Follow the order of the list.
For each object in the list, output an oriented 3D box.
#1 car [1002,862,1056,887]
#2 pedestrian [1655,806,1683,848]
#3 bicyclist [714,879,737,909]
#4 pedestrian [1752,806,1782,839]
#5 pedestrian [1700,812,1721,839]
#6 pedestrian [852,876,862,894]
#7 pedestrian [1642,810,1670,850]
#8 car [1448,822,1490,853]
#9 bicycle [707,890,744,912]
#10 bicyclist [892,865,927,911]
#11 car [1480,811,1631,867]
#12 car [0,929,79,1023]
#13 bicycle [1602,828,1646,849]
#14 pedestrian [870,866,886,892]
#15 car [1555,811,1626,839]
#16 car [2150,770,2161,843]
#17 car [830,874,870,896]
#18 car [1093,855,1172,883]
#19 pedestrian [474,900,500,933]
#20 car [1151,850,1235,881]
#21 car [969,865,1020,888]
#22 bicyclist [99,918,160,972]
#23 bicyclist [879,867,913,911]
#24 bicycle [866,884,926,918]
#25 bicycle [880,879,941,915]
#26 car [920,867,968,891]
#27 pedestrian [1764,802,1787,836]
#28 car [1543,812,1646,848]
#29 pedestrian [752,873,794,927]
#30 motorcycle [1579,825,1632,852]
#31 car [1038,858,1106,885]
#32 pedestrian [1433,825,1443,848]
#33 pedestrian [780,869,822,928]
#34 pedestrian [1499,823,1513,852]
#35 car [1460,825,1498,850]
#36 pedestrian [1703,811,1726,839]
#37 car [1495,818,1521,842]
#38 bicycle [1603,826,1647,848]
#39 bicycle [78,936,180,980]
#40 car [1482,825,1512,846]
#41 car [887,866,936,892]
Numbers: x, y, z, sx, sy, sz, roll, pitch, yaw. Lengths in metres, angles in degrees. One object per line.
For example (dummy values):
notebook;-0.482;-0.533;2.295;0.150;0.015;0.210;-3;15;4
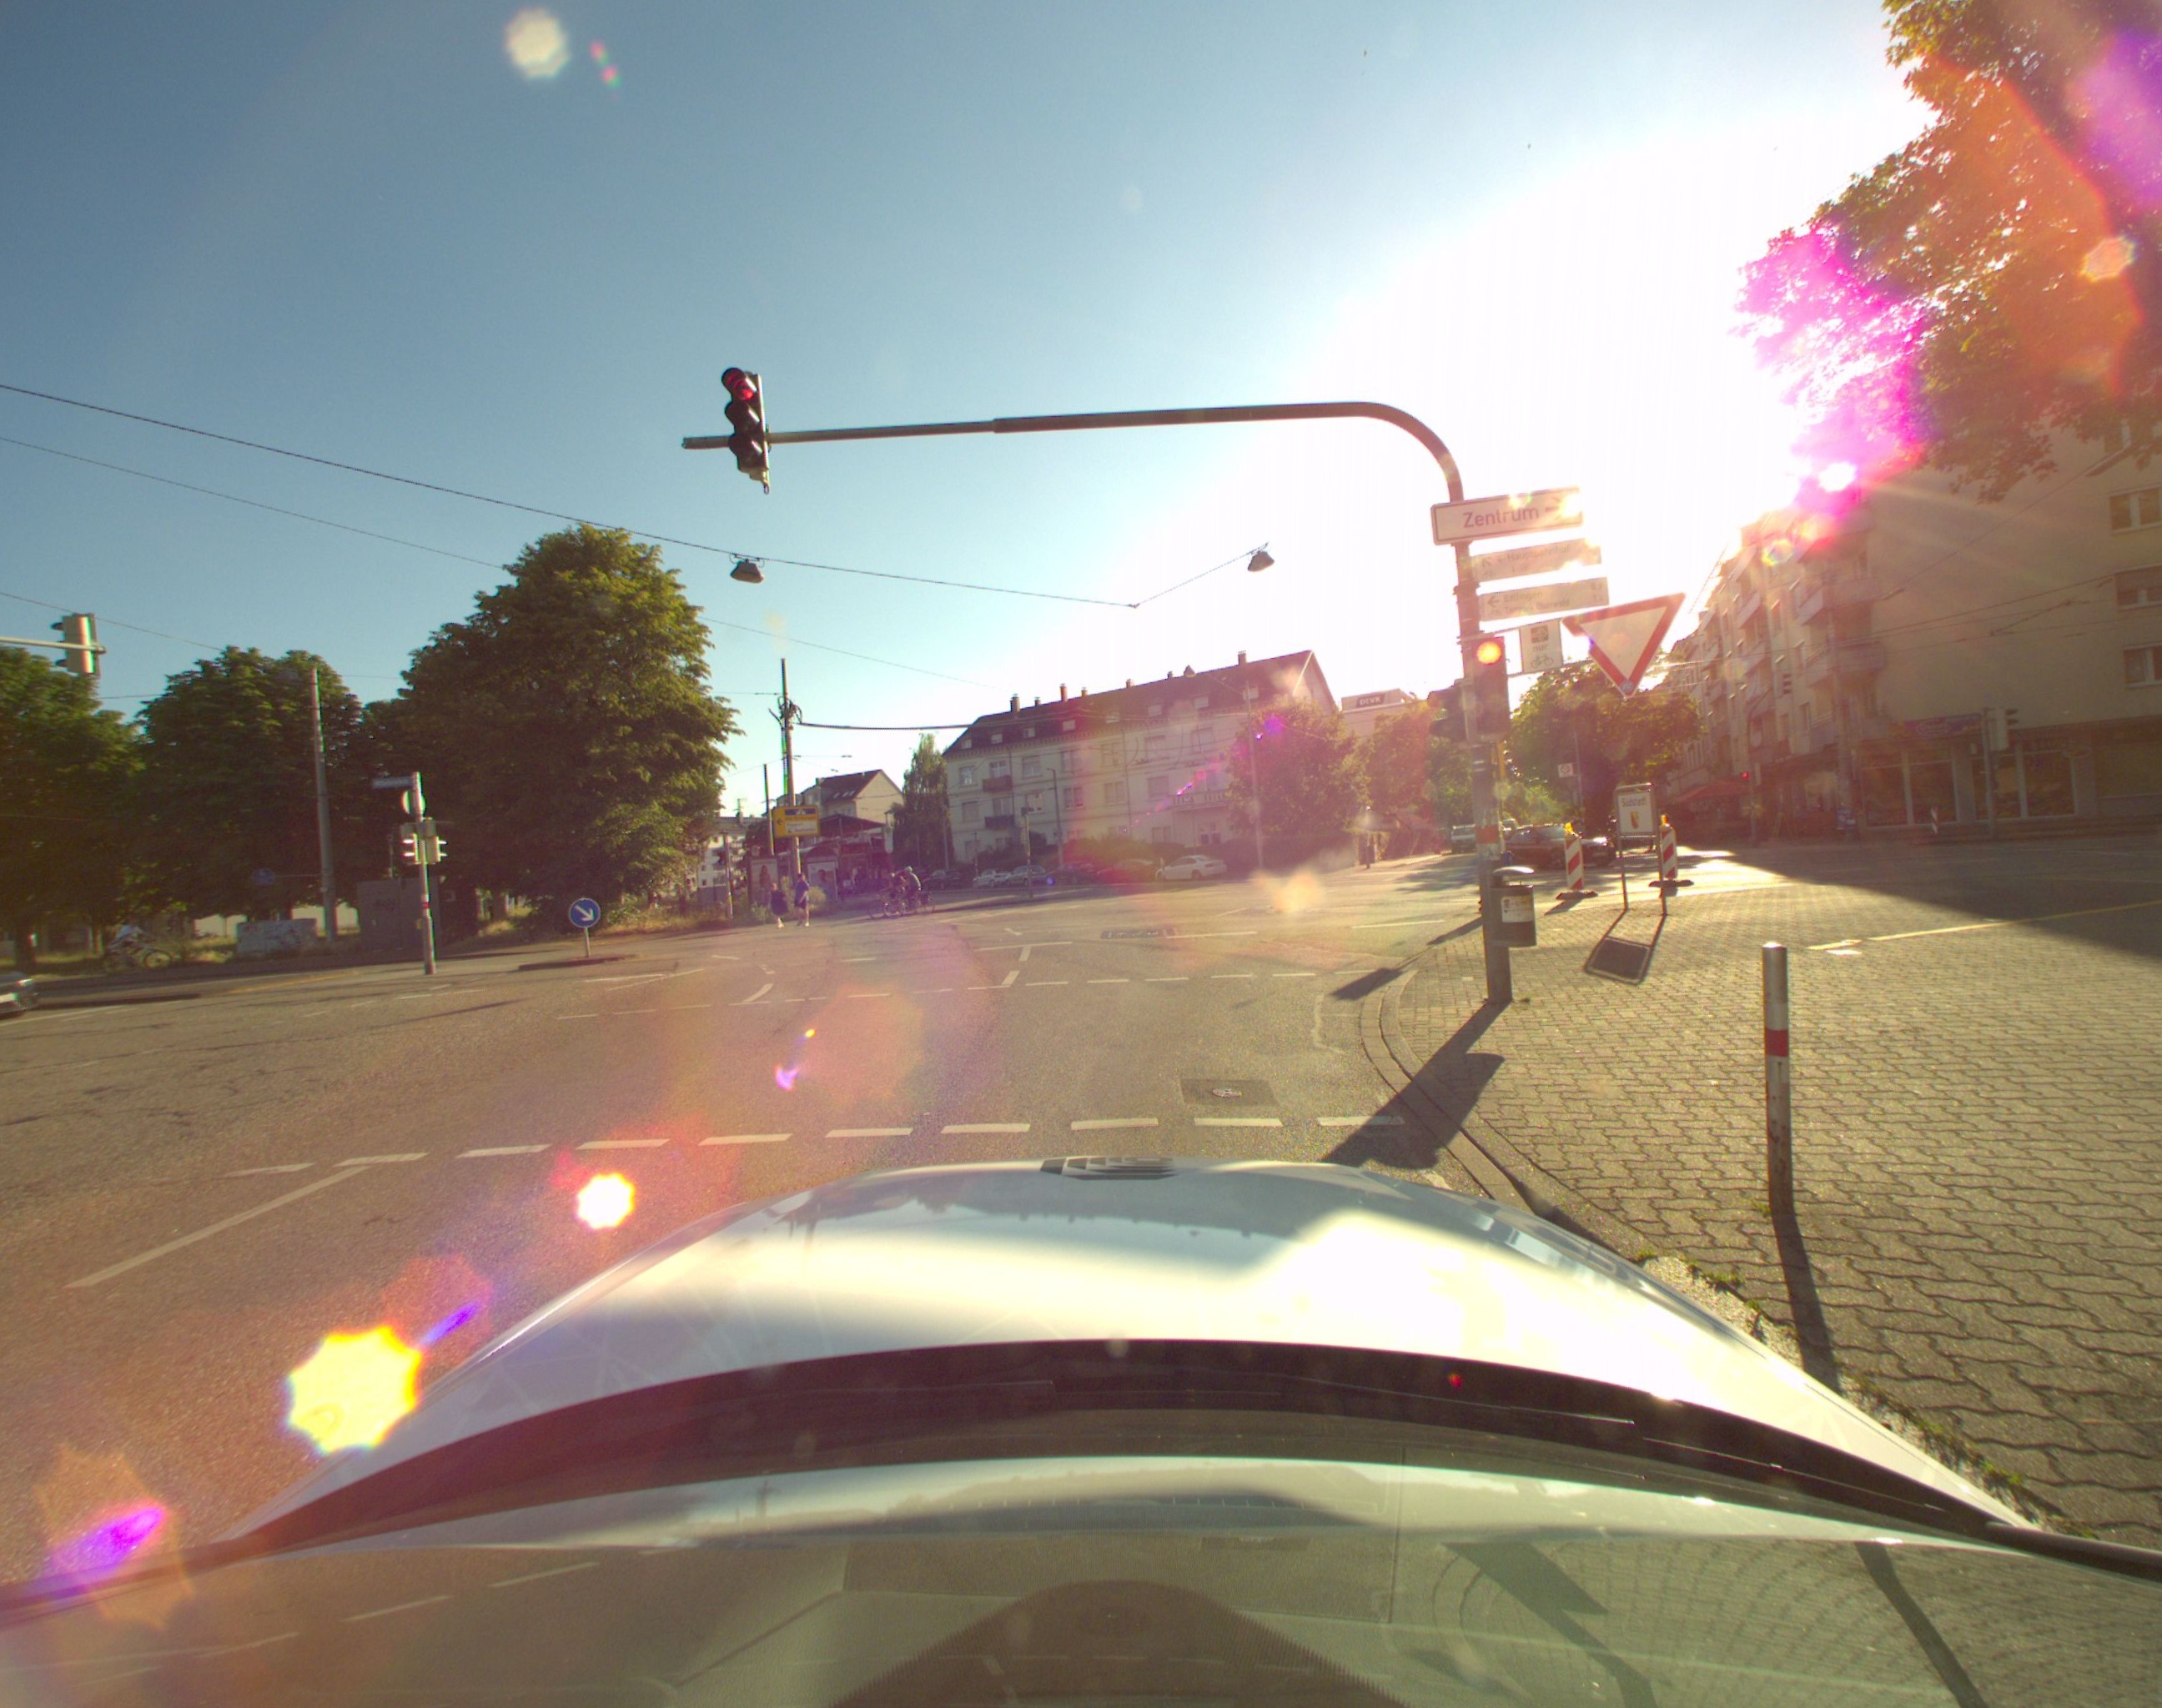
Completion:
car;-3.745;1.462;58.119;1.998;1.447;3.676;-7;1;-39
pedestrian;25.835;-1.189;35.767;0.799;1.750;0.685;-4;-1;-38
bicyclist;-20.397;2.280;46.734;0.663;1.652;0.891;-4;-1;17
pedestrian;33.995;-1.559;40.355;0.804;1.544;0.919;-5;-1;25
pedestrian;34.054;-1.525;44.066;0.803;1.362;0.920;-5;-1;36
pedestrian;-18.444;2.555;67.071;0.569;1.500;0.672;-4;-1;-27
pedestrian;26.010;-1.071;36.849;0.799;1.750;0.710;-4;-1;-38
car;28.386;-1.231;59.449;2.332;2.013;5.343;-5;-1;28
bicycle;-20.364;2.697;46.698;0.656;1.069;2.029;-4;0;19
bicyclist;-6.025;1.182;28.654;1.034;1.532;0.696;-4;-1;-9
car;15.407;-0.414;26.752;1.893;1.564;4.378;-3;-1;-9
car;-21.395;2.369;14.635;4.415;1.567;2.057;-4;0;5
bicycle;26.867;-0.771;40.325;1.707;0.932;0.565;-5;-1;31
pedestrian;-16.480;2.046;66.076;0.928;2.013;0.760;-4;-1;-34
car;44.681;-2.509;71.621;5.042;1.924;2.377;-5;-2;28
car;23.235;-1.076;14.908;3.948;1.486;1.909;-5;-1;32
car;-23.845;3.202;83.951;2.067;1.961;5.091;-7;1;-39
car;3.123;0.946;50.199;1.999;1.376;4.647;-7;1;-44
pedestrian;-35.789;3.750;49.048;0.936;1.872;0.689;-4;-1;9
car;6.269;0.675;46.129;1.941;1.376;4.443;-7;1;-40
car;-6.588;1.733;61.680;1.855;1.447;3.912;-7;1;-39
bicyclist;-31.468;3.001;26.956;1.038;1.629;0.711;-4;-1;-9
bicyclist;-6.799;1.263;29.924;1.033;1.532;0.659;-4;-1;-8
bicycle;-6.793;1.725;29.948;2.011;1.069;0.662;-4;-1;-8
bicycle;-5.979;1.506;28.667;2.013;1.069;0.661;-4;-1;-11
car;-11.408;2.080;67.632;1.855;1.667;4.319;-7;1;-39
pedestrian;33.851;-1.707;39.708;0.612;1.591;0.480;-4;-1;15
car;34.251;-1.543;54.550;5.567;1.924;2.377;-5;-2;28
pedestrian;-10.649;1.580;28.214;0.908;1.747;1.068;-4;-1;2
motorcycle;24.967;-0.717;38.808;1.933;1.109;0.842;-5;-1;26
car;-0.670;1.200;54.800;1.998;1.447;4.650;-7;1;-39
pedestrian;27.618;-1.323;63.018;0.573;1.730;0.612;-4;-1;26
pedestrian;-9.767;1.535;28.422;0.908;1.925;1.068;-4;-1;2
pedestrian;27.232;-1.065;52.157;0.655;1.839;0.687;-4;-1;30
car;31.690;-1.334;64.754;2.332;1.795;5.343;-5;-1;28
pedestrian;33.374;-1.529;42.912;0.803;1.362;0.920;-5;-1;36
car;47.946;-2.695;91.348;2.332;2.514;5.343;-5;-1;28
bicycle;26.469;-0.818;39.661;1.707;0.932;0.565;-5;-1;31
bicycle;-31.452;3.427;26.946;2.194;1.142;0.698;-4;-1;-10
car;39.716;-1.791;77.673;2.332;1.795;5.343;-5;-1;28
car;-15.204;2.238;72.767;2.067;1.961;5.091;-7;1;-39
